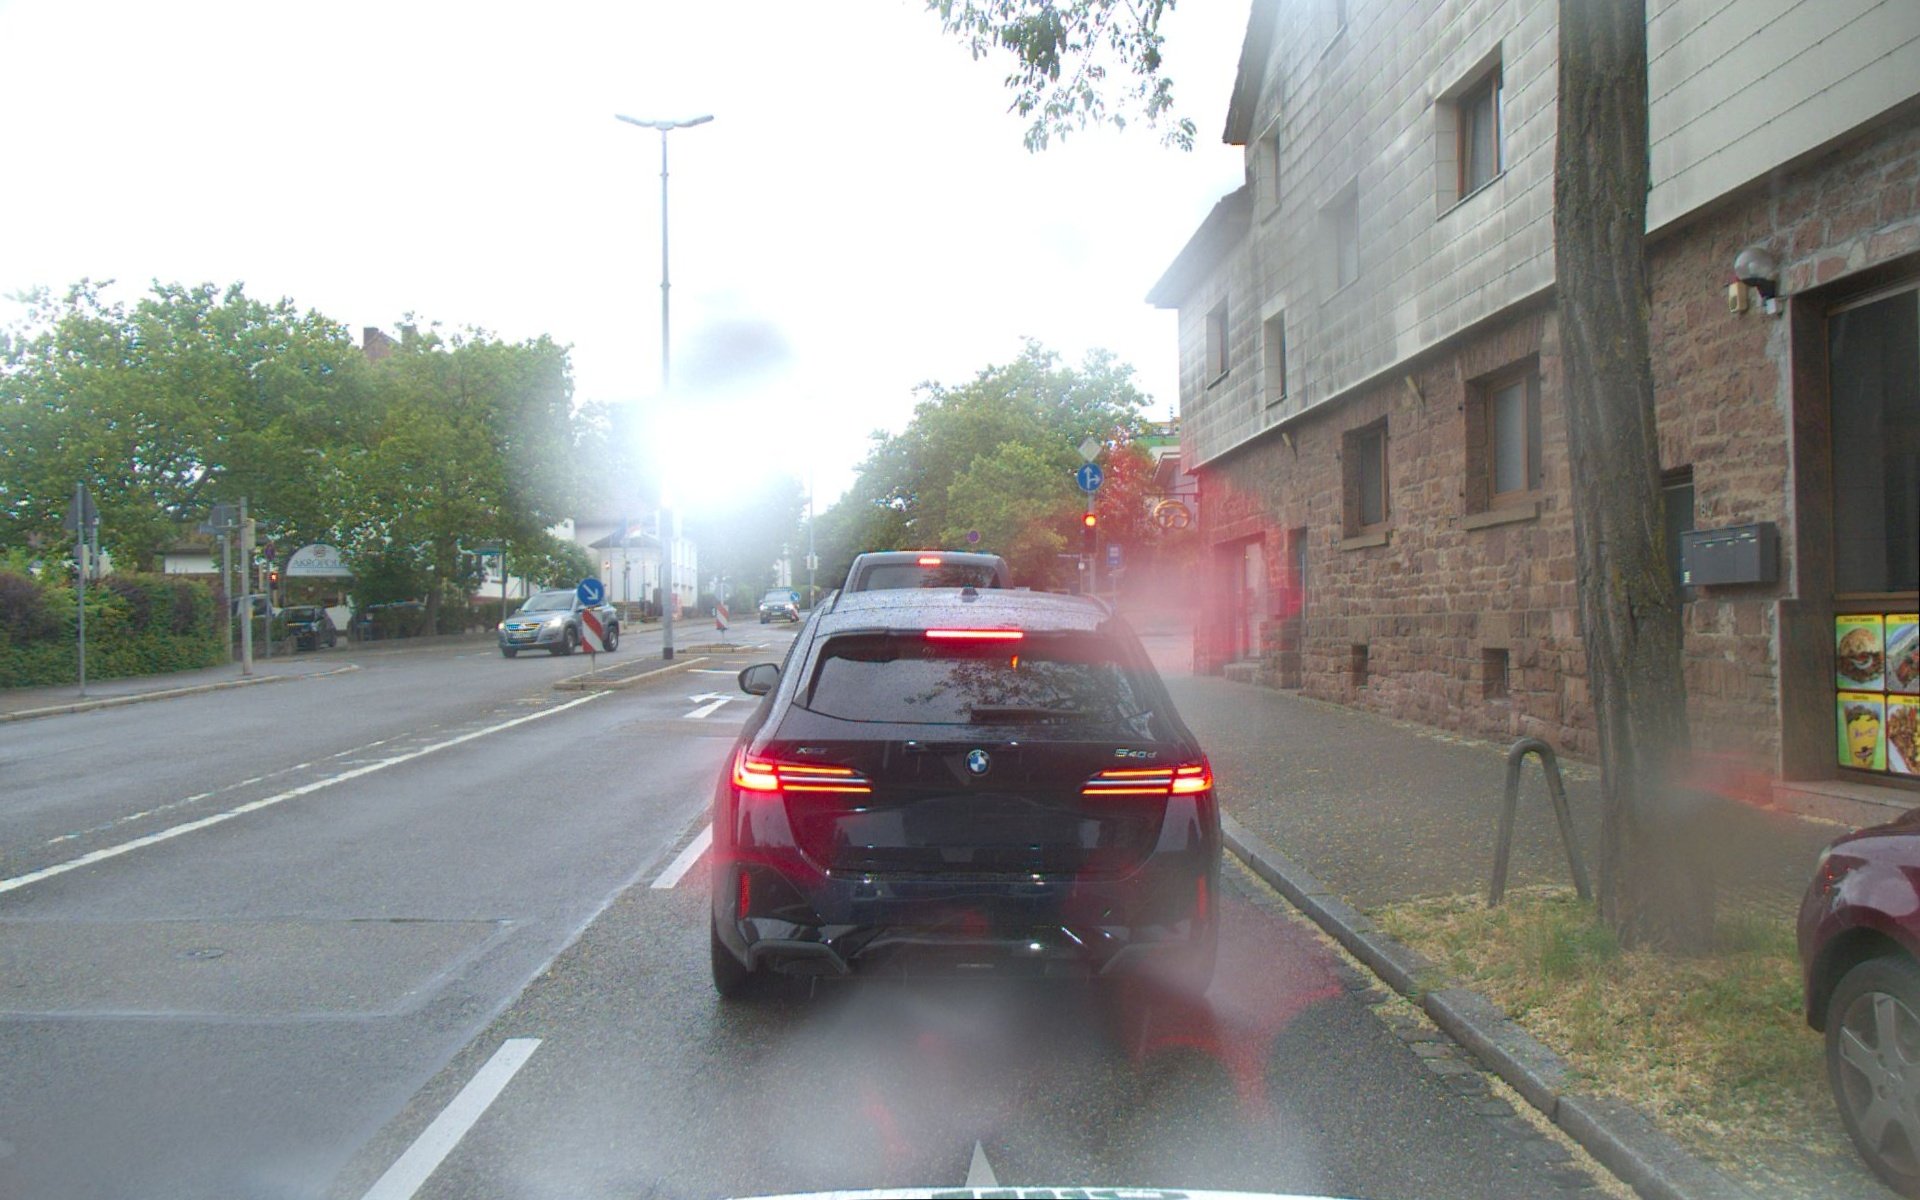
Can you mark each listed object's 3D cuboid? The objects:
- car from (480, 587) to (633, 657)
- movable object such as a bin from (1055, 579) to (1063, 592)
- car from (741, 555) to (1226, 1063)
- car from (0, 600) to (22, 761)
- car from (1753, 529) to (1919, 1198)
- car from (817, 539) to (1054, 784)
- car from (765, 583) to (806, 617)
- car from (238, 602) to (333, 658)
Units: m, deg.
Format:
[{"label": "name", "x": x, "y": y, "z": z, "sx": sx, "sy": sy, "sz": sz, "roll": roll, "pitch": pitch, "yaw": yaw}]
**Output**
[{"label": "car", "x": -10.187, "y": 0.521, "z": 42.096, "sx": 1.868, "sy": 1.618, "sz": 4.321, "roll": -2, "pitch": 0, "yaw": 15}, {"label": "movable object such as a bin", "x": 6.889, "y": -1.011, "z": 115.371, "sx": 0.440, "sy": 0.921, "sz": 0.463, "roll": 1, "pitch": -1, "yaw": 14}, {"label": "car", "x": -0.029, "y": 0.663, "z": 6.913, "sx": 1.494, "sy": 1.561, "sz": 3.529, "roll": 1, "pitch": 0, "yaw": -4}, {"label": "car", "x": -9.662, "y": 0.771, "z": 13.010, "sx": 1.872, "sy": 1.479, "sz": 4.946, "roll": -2, "pitch": 0, "yaw": -3}, {"label": "car", "x": 3.065, "y": 0.579, "z": 2.684, "sx": 1.578, "sy": 1.530, "sz": 3.753, "roll": 1, "pitch": -2, "yaw": -4}, {"label": "car", "x": -0.301, "y": 0.478, "z": 14.469, "sx": 1.776, "sy": 1.840, "sz": 3.753, "roll": 1, "pitch": 0, "yaw": -4}, {"label": "car", "x": -8.745, "y": -0.016, "z": 83.056, "sx": 1.861, "sy": 1.604, "sz": 4.499, "roll": -1, "pitch": 1, "yaw": -4}, {"label": "car", "x": -23.129, "y": 0.984, "z": 56.865, "sx": 1.772, "sy": 1.578, "sz": 4.000, "roll": 1, "pitch": 4, "yaw": -3}]
